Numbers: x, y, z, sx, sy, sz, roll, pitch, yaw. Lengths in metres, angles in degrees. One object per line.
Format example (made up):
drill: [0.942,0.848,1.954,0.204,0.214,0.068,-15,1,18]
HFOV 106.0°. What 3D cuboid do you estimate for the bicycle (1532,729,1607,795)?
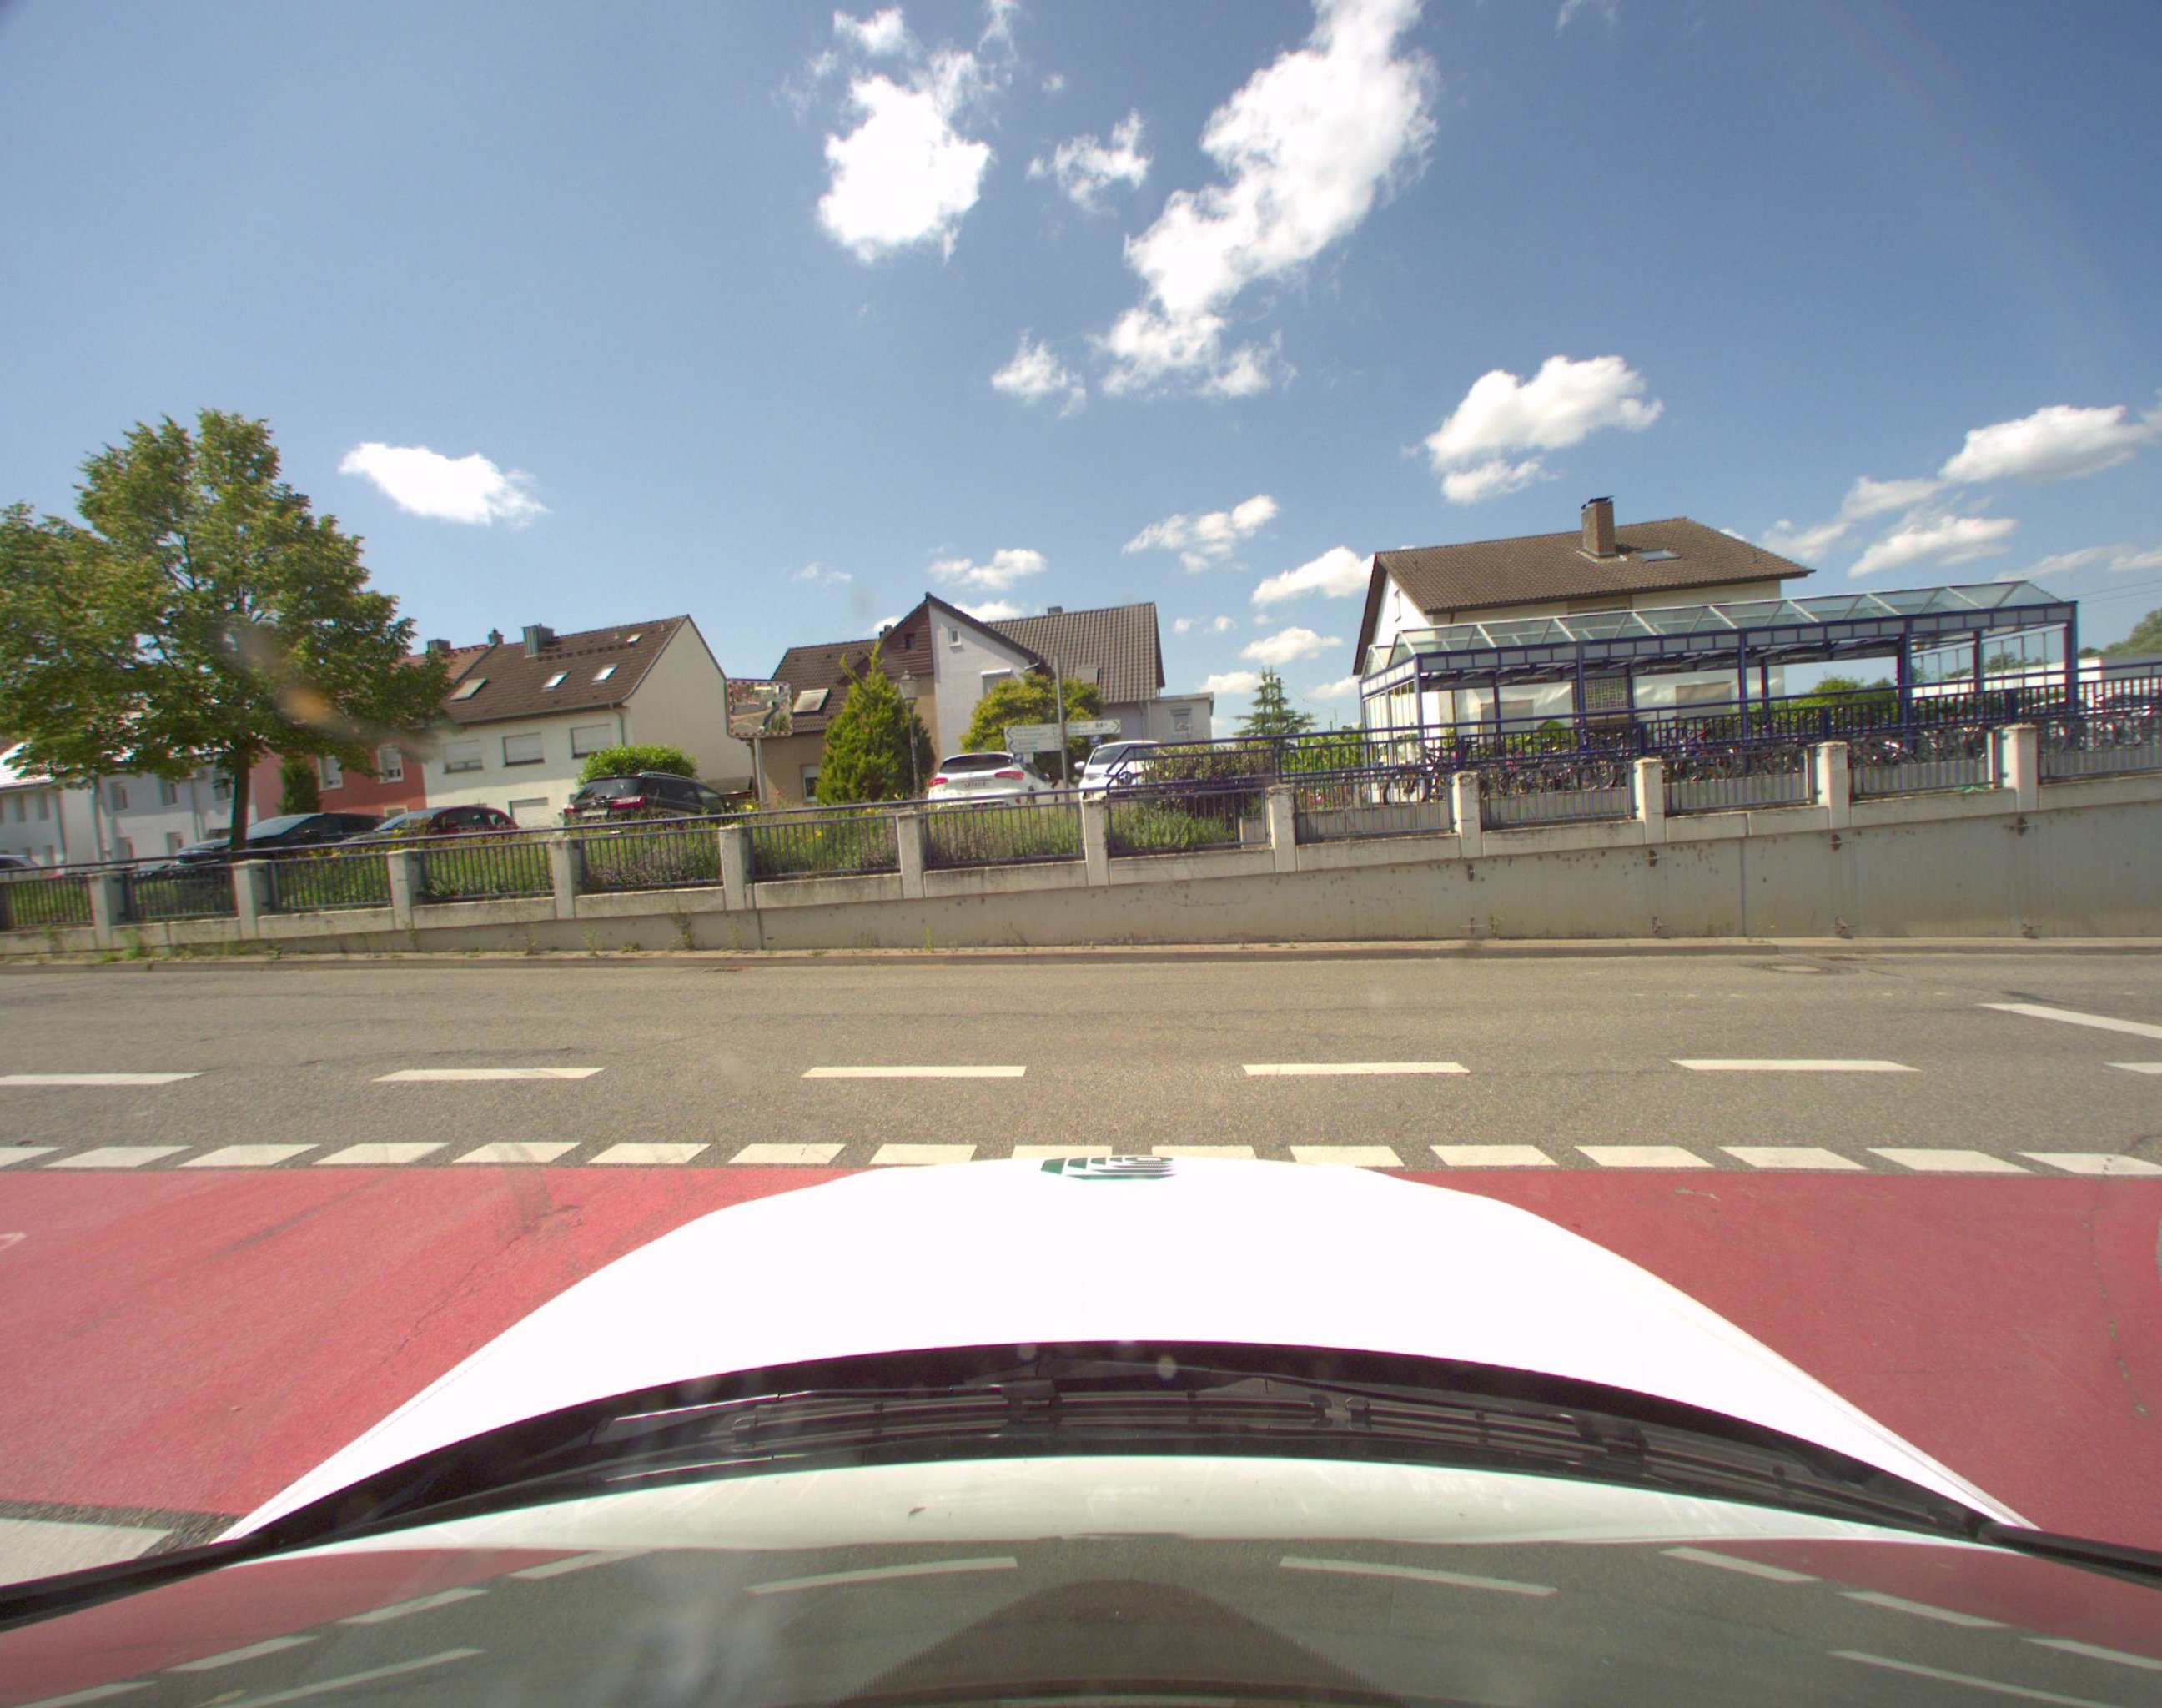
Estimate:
bicycle: [8.350,-1.529,13.995,0.432,0.994,2.110,-3,3,13]

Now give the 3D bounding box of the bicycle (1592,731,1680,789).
bicycle: [10.975,-1.833,16.186,0.412,0.994,1.967,-3,3,1]

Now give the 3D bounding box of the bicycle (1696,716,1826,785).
bicycle: [11.786,-1.759,14.214,0.530,0.994,2.191,-3,3,4]

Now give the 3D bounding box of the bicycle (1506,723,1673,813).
bicycle: [7.227,-1.215,11.593,2.108,1.125,0.392,-4,2,0]

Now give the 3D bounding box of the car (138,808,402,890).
car: [-17.220,-0.119,17.567,1.857,1.586,3.617,0,1,7]

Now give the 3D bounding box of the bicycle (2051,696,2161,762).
bicycle: [18.372,-2.182,14.227,0.541,0.994,2.042,-3,3,5]

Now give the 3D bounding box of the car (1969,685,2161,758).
car: [29.855,-3.915,24.444,1.989,1.677,3.997,-4,3,-3]

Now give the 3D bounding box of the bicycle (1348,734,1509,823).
bicycle: [4.931,-1.067,11.583,2.108,1.125,0.333,-4,2,0]

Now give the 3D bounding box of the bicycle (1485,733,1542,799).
bicycle: [7.322,-1.457,13.858,0.432,0.994,2.112,-3,3,17]

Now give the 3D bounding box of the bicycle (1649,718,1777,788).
bicycle: [10.808,-1.689,14.042,0.530,0.994,2.284,-3,3,4]

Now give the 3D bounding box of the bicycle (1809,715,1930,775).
bicycle: [15.591,-2.128,16.177,0.517,0.994,1.967,-3,3,1]

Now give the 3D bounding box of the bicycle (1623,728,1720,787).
bicycle: [11.688,-1.879,16.201,0.517,0.994,1.967,-3,3,1]

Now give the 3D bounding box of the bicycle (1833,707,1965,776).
bicycle: [14.201,-1.915,14.222,0.512,0.994,2.044,-3,3,9]

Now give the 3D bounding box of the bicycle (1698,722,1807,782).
bicycle: [13.097,-1.958,15.959,0.517,0.994,1.967,-3,3,1]

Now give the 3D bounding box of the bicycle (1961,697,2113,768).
bicycle: [16.445,-2.052,14.092,0.540,0.994,2.046,-3,3,11]

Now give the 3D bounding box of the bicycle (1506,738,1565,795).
bicycle: [9.020,-1.709,16.233,0.370,0.994,1.972,-3,3,10]

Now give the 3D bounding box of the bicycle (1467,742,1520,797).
bicycle: [8.304,-1.674,16.454,0.370,0.994,1.972,-3,3,10]

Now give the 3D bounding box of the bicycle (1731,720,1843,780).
bicycle: [13.831,-2.008,16.021,0.517,0.994,1.967,-3,3,1]

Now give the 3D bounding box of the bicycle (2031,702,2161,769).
bicycle: [18.290,-2.086,14.412,0.435,0.994,2.163,-3,3,1]

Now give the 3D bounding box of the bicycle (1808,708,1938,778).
bicycle: [13.434,-1.851,13.906,0.574,0.994,2.197,-3,3,15]

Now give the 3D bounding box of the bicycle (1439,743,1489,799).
bicycle: [7.532,-1.607,16.081,0.370,0.994,1.972,-3,3,10]

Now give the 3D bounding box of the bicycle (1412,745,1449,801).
bicycle: [6.836,-1.557,15.964,0.451,0.994,1.897,-3,3,18]

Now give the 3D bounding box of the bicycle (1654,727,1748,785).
bicycle: [12.362,-1.927,16.313,0.517,0.994,1.802,-3,3,1]

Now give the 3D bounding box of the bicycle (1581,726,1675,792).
bicycle: [9.471,-1.611,14.200,0.433,0.994,2.288,-3,3,10]

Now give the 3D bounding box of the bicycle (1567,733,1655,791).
bicycle: [10.500,-1.803,16.209,0.472,0.994,1.967,-3,3,1]

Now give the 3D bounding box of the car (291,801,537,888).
car: [-13.503,-0.201,16.809,1.857,1.586,3.617,0,1,7]

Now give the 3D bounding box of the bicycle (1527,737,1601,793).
bicycle: [9.664,-1.757,16.365,0.424,0.994,1.969,-3,3,4]

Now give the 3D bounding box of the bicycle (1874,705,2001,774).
bicycle: [14.900,-1.960,14.245,0.512,0.994,2.047,-3,3,14]

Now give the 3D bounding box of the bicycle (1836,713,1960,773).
bicycle: [16.140,-2.163,16.167,0.517,0.994,1.967,-3,3,1]

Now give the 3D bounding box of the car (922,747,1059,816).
car: [-1.575,-1.290,15.354,1.815,1.019,3.466,0,1,7]

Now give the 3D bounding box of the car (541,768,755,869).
car: [-8.540,-0.664,16.540,1.857,1.797,4.008,0,1,7]

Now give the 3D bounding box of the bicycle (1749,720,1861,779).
bicycle: [14.398,-2.056,16.270,0.517,0.994,1.967,-3,3,1]

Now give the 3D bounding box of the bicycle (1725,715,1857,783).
bicycle: [12.482,-1.814,14.425,0.530,0.994,2.191,-3,3,4]

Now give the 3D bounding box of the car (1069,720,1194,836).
car: [1.053,-1.257,15.101,1.983,1.797,4.205,0,1,7]

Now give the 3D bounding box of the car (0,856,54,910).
car: [-31.355,0.839,21.898,1.730,1.488,4.272,0,1,13]

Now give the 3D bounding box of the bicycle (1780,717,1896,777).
bicycle: [15.007,-2.092,16.217,0.517,0.994,1.967,-3,3,1]

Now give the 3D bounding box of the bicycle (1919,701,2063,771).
bicycle: [15.629,-1.999,14.069,0.512,0.994,2.046,-3,3,11]

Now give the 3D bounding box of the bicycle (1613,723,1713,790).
bicycle: [10.049,-1.646,14.157,0.433,0.994,2.288,-3,3,10]

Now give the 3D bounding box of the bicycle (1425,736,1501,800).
bicycle: [6.672,-1.470,14.320,0.331,0.994,2.076,-3,3,1]

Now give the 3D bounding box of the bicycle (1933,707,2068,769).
bicycle: [17.978,-2.239,15.996,0.541,0.994,2.044,-3,3,8]
